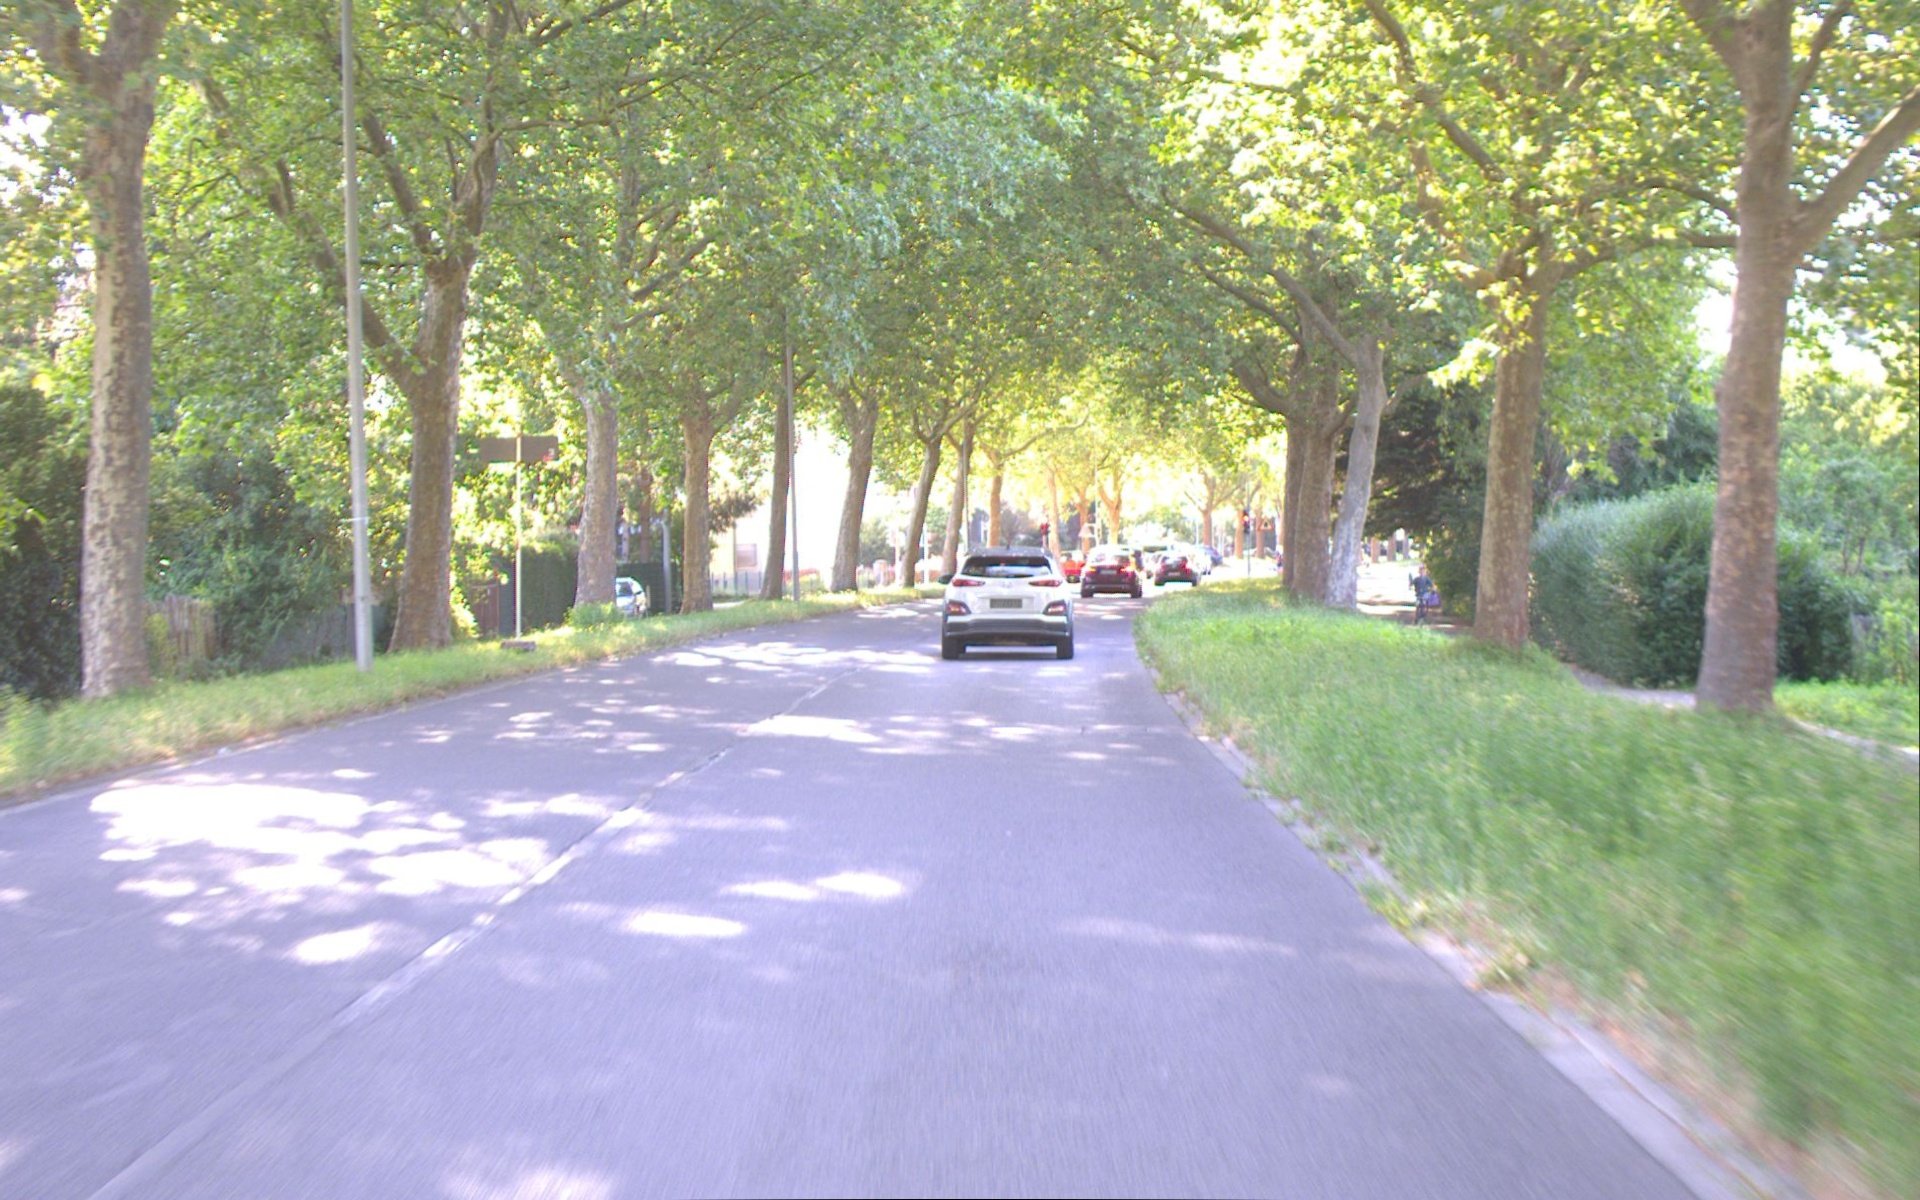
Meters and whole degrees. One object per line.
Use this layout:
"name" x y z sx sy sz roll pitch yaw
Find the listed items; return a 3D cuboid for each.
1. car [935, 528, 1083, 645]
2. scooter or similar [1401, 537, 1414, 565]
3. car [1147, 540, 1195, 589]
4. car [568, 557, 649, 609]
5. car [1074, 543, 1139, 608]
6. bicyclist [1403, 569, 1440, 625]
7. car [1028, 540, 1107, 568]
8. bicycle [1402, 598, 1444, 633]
"car" 0.721 -0.196 48.549 1.993 1.569 4.000 0 1 2
"scooter or similar" 20.073 -2.185 154.144 0.549 1.254 2.312 0 0 8
"car" 8.936 -1.497 145.650 1.994 2.007 4.000 0 0 3
"car" -9.765 -0.489 95.716 1.752 1.300 4.000 -2 2 1
"car" 4.665 -0.786 109.363 1.994 2.007 4.000 0 0 3
"bicyclist" 11.296 -0.065 84.192 0.734 1.361 0.771 0 0 -5
"car" 5.707 -2.425 181.595 3.988 1.473 1.999 0 0 8
"bicycle" 11.301 0.375 83.966 0.552 0.814 1.889 0 0 -7
